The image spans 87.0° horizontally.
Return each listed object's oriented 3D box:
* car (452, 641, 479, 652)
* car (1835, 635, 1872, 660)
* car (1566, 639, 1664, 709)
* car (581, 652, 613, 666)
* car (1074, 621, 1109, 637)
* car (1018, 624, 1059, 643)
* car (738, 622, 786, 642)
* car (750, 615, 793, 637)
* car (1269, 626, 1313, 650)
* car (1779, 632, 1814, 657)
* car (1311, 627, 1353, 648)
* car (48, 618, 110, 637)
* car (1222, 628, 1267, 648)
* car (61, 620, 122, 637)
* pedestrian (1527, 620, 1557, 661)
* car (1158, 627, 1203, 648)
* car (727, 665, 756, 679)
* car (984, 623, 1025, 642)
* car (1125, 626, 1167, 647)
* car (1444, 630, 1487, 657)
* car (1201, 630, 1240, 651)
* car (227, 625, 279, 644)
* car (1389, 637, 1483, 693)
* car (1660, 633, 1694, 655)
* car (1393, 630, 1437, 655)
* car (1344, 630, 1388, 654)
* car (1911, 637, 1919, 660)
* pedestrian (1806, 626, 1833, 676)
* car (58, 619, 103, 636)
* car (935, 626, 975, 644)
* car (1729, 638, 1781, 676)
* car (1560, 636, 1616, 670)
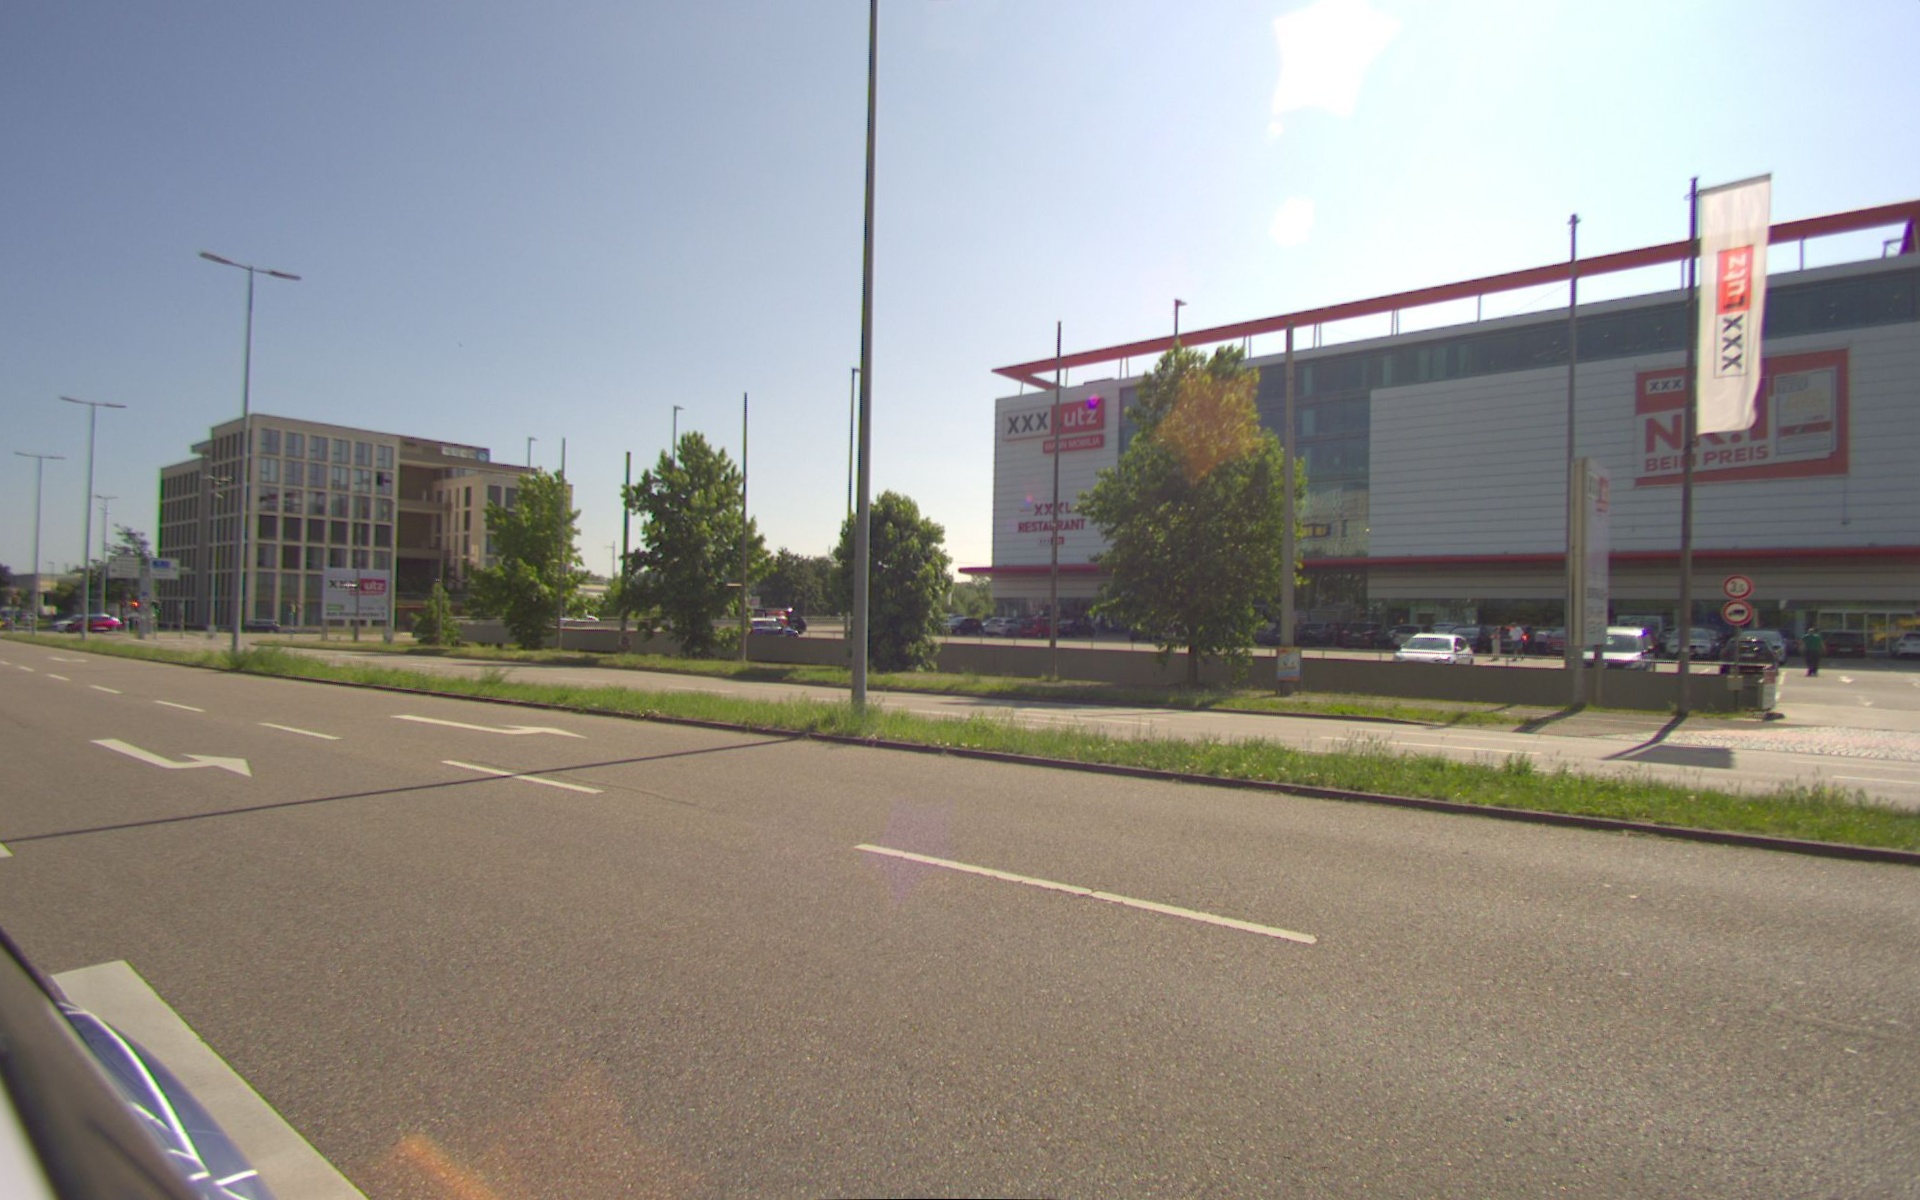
[{"bbox_3d":[-44.120,4.158,90.291,0.888,0.983,1.919,0,-1,37],"label":"car"},{"bbox_3d":[49.609,2.619,56.210,1.365,1.276,3.057,0,-1,39],"label":"car"},{"bbox_3d":[19.235,2.101,29.639,1.944,1.856,4.368,0,-2,39],"label":"car"},{"bbox_3d":[-27.048,4.393,75.434,1.069,0.983,1.919,0,-1,37],"label":"car"},{"bbox_3d":[11.222,2.497,86.267,1.514,1.340,3.057,0,-1,39],"label":"car"},{"bbox_3d":[5.833,2.445,74.800,1.514,1.340,3.182,0,-1,39],"label":"car"},{"bbox_3d":[-10.800,1.762,55.394,1.069,1.067,2.489,0,-1,37],"label":"car"},{"bbox_3d":[-14.471,2.016,77.803,1.772,1.568,2.739,-2,-3,39],"label":"car"},{"bbox_3d":[20.097,2.298,61.392,1.514,1.340,3.057,0,-1,39],"label":"car"},{"bbox_3d":[47.980,2.562,58.096,1.514,1.340,3.057,0,-1,39],"label":"car"},{"bbox_3d":[23.863,2.408,64.894,1.605,1.237,3.057,0,-1,39],"label":"car"},{"bbox_3d":[-84.781,2.634,97.450,1.901,1.724,4.177,-1,-3,37],"label":"car"},{"bbox_3d":[17.929,2.373,63.621,1.479,1.208,3.464,0,-1,39],"label":"car"},{"bbox_3d":[-81.509,2.702,95.002,1.529,1.539,4.067,-1,-3,38],"label":"car"},{"bbox_3d":[28.936,2.026,50.319,0.850,2.029,1.024,3,-4,-36],"label":"pedestrian"},{"bbox_3d":[14.541,2.463,66.563,1.702,1.340,3.057,0,-1,39],"label":"car"},{"bbox_3d":[-16.626,5.451,76.884,1.069,0.983,1.920,1,-1,36],"label":"car"},{"bbox_3d":[3.357,2.438,75.687,1.514,1.340,3.182,0,-1,39],"label":"car"},{"bbox_3d":[12.639,2.448,68.578,1.514,1.340,3.057,0,-1,39],"label":"car"},{"bbox_3d":[27.586,2.363,55.216,1.514,1.340,3.057,0,-1,39],"label":"car"},{"bbox_3d":[18.190,2.813,70.543,1.514,1.340,3.057,0,-1,39],"label":"car"},{"bbox_3d":[-76.150,3.724,109.013,1.834,1.903,4.186,0,-1,40],"label":"car"},{"bbox_3d":[15.580,2.072,33.009,1.869,1.640,4.370,0,-2,38],"label":"car"},{"bbox_3d":[43.292,2.664,61.081,1.514,1.234,3.057,0,-1,39],"label":"car"},{"bbox_3d":[25.696,2.382,57.095,1.514,1.340,3.057,0,-1,39],"label":"car"},{"bbox_3d":[23.375,2.394,58.290,1.514,1.303,3.057,0,-1,39],"label":"car"},{"bbox_3d":[51.849,2.605,53.913,1.440,1.234,3.057,0,-1,39],"label":"car"},{"bbox_3d":[32.793,1.959,38.630,0.751,1.872,0.845,-2,-4,40],"label":"pedestrian"},{"bbox_3d":[-113.264,3.572,130.369,3.931,2.029,2.006,2,-3,-29],"label":"car"},{"bbox_3d":[-0.388,2.700,78.944,1.514,1.340,3.057,0,-1,39],"label":"car"},{"bbox_3d":[30.663,2.177,39.020,1.514,1.340,3.057,0,-1,39],"label":"car"},{"bbox_3d":[26.653,2.210,42.906,1.514,1.340,4.444,0,-1,39],"label":"car"}]
